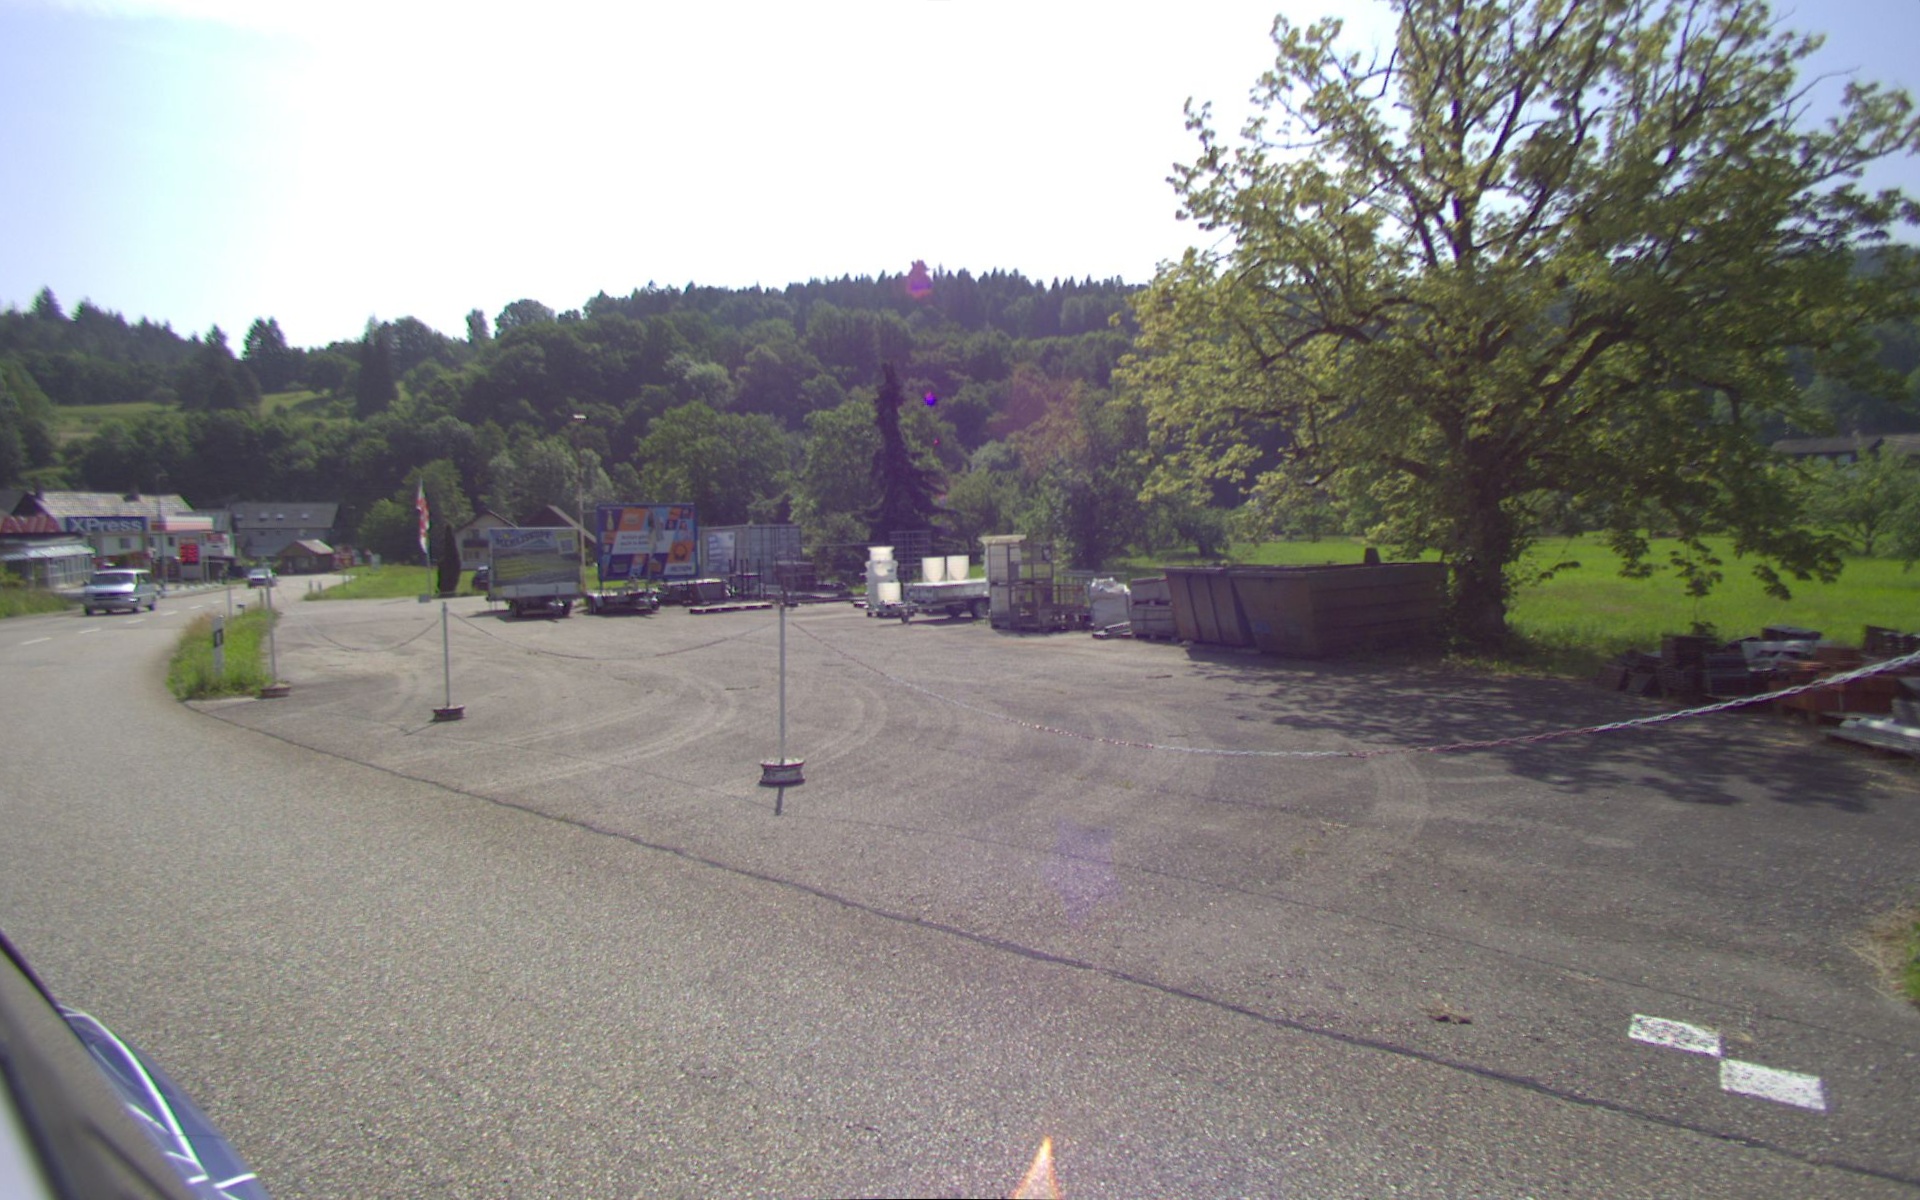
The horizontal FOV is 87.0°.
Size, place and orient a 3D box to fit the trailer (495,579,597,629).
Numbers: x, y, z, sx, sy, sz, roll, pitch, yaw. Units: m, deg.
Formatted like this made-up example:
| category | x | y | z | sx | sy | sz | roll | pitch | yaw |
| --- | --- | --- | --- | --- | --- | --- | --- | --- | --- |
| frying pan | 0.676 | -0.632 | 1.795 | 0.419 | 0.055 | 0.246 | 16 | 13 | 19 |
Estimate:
| category | x | y | z | sx | sy | sz | roll | pitch | yaw |
| --- | --- | --- | --- | --- | --- | --- | --- | --- | --- |
| trailer | -13.244 | 0.052 | 32.151 | 1.967 | 1.235 | 5.562 | -5 | 5 | -33 |

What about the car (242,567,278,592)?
| category | x | y | z | sx | sy | sz | roll | pitch | yaw |
| --- | --- | --- | --- | --- | --- | --- | --- | --- | --- |
| car | -56.102 | -1.667 | 81.141 | 1.738 | 1.758 | 3.994 | -4 | 5 | -26 |

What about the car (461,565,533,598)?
| category | x | y | z | sx | sy | sz | roll | pitch | yaw |
| --- | --- | --- | --- | --- | --- | --- | --- | --- | --- |
| car | -26.328 | -1.095 | 57.708 | 1.810 | 1.661 | 4.909 | -2 | 3 | -1 |

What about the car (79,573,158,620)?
| category | x | y | z | sx | sy | sz | roll | pitch | yaw |
| --- | --- | --- | --- | --- | --- | --- | --- | --- | --- |
| car | -37.207 | -0.200 | 44.862 | 1.865 | 1.871 | 4.718 | -3 | 3 | -31 |

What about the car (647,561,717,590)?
| category | x | y | z | sx | sy | sz | roll | pitch | yaw |
| --- | --- | --- | --- | --- | --- | --- | --- | --- | --- |
| car | -16.466 | -1.483 | 60.030 | 3.867 | 1.496 | 1.923 | -3 | 3 | -15 |

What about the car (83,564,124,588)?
| category | x | y | z | sx | sy | sz | roll | pitch | yaw |
| --- | --- | --- | --- | --- | --- | --- | --- | --- | --- |
| car | -71.078 | -2.018 | 84.034 | 1.657 | 1.828 | 4.013 | -5 | 5 | -28 |

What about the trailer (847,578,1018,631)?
| category | x | y | z | sx | sy | sz | roll | pitch | yaw |
| --- | --- | --- | --- | --- | --- | --- | --- | --- | --- |
| trailer | -0.679 | 0.071 | 25.686 | 3.879 | 0.946 | 1.874 | -5 | 5 | -31 |

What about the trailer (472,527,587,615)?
| category | x | y | z | sx | sy | sz | roll | pitch | yaw |
| --- | --- | --- | --- | --- | --- | --- | --- | --- | --- |
| trailer | -15.584 | -1.079 | 36.645 | 3.347 | 2.933 | 1.888 | -5 | 4 | -35 |
